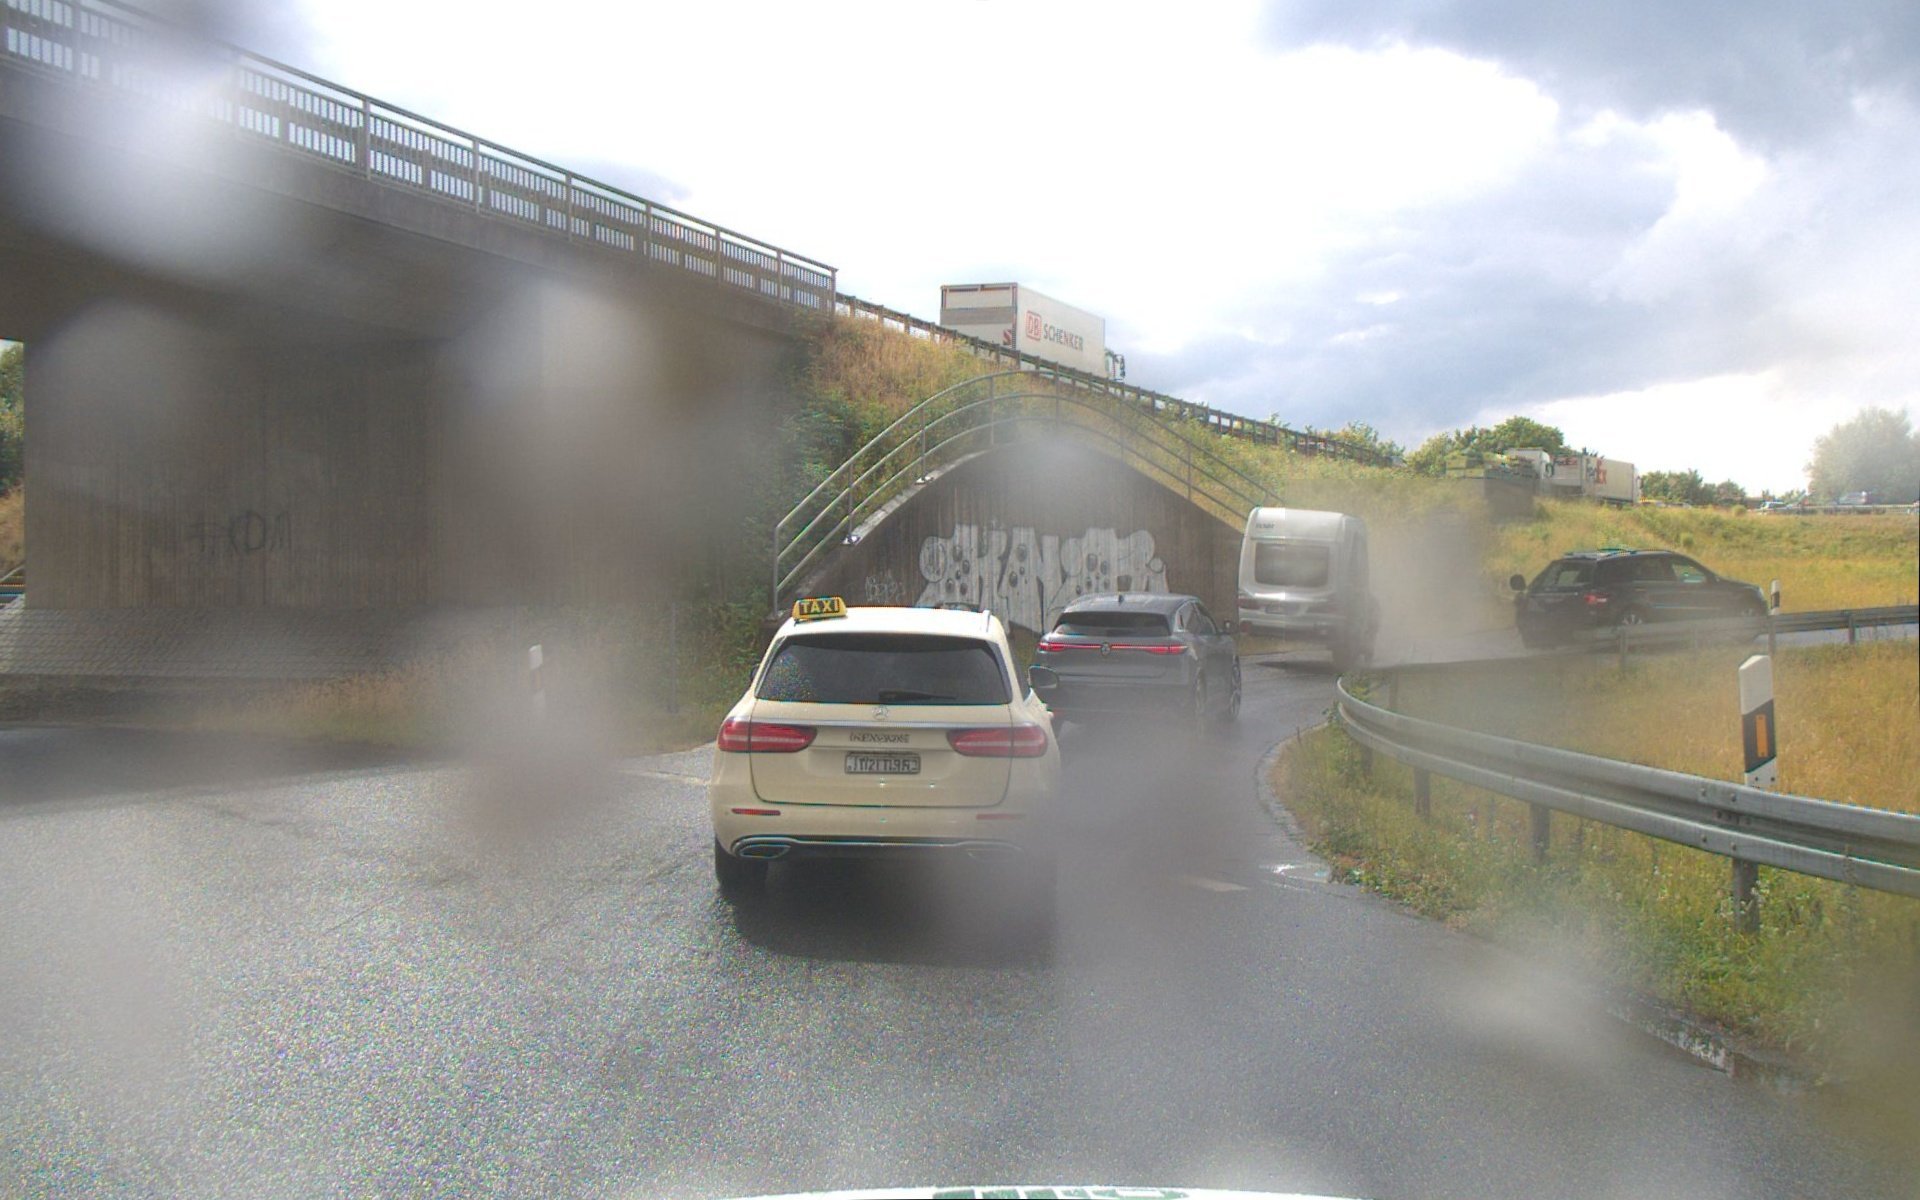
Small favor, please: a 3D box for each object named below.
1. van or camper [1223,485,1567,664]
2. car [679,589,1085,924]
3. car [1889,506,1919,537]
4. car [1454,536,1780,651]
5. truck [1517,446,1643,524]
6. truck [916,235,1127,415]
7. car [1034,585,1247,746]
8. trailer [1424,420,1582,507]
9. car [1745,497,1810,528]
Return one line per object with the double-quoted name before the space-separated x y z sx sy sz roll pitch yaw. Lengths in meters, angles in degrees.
"van or camper" 7.519 -0.488 28.358 5.928 2.776 2.411 -1 2 -34
"car" -0.291 0.728 9.937 1.876 1.534 4.597 0 0 2
"car" 66.770 -5.440 114.439 1.967 2.049 3.972 0 0 -23
"car" 12.312 -0.196 31.000 5.664 1.959 2.419 -1 2 -23
"truck" 47.051 -8.456 124.759 4.384 4.581 19.311 1 0 34
"truck" 2.149 -8.336 51.731 3.118 4.035 9.229 1 0 26
"car" 2.083 0.643 18.115 1.681 1.551 4.003 0 0 16
"trailer" 36.059 -8.737 108.781 4.337 4.025 20.149 1 0 35
"car" 61.505 -6.563 124.407 1.982 2.049 3.940 0 0 -41
